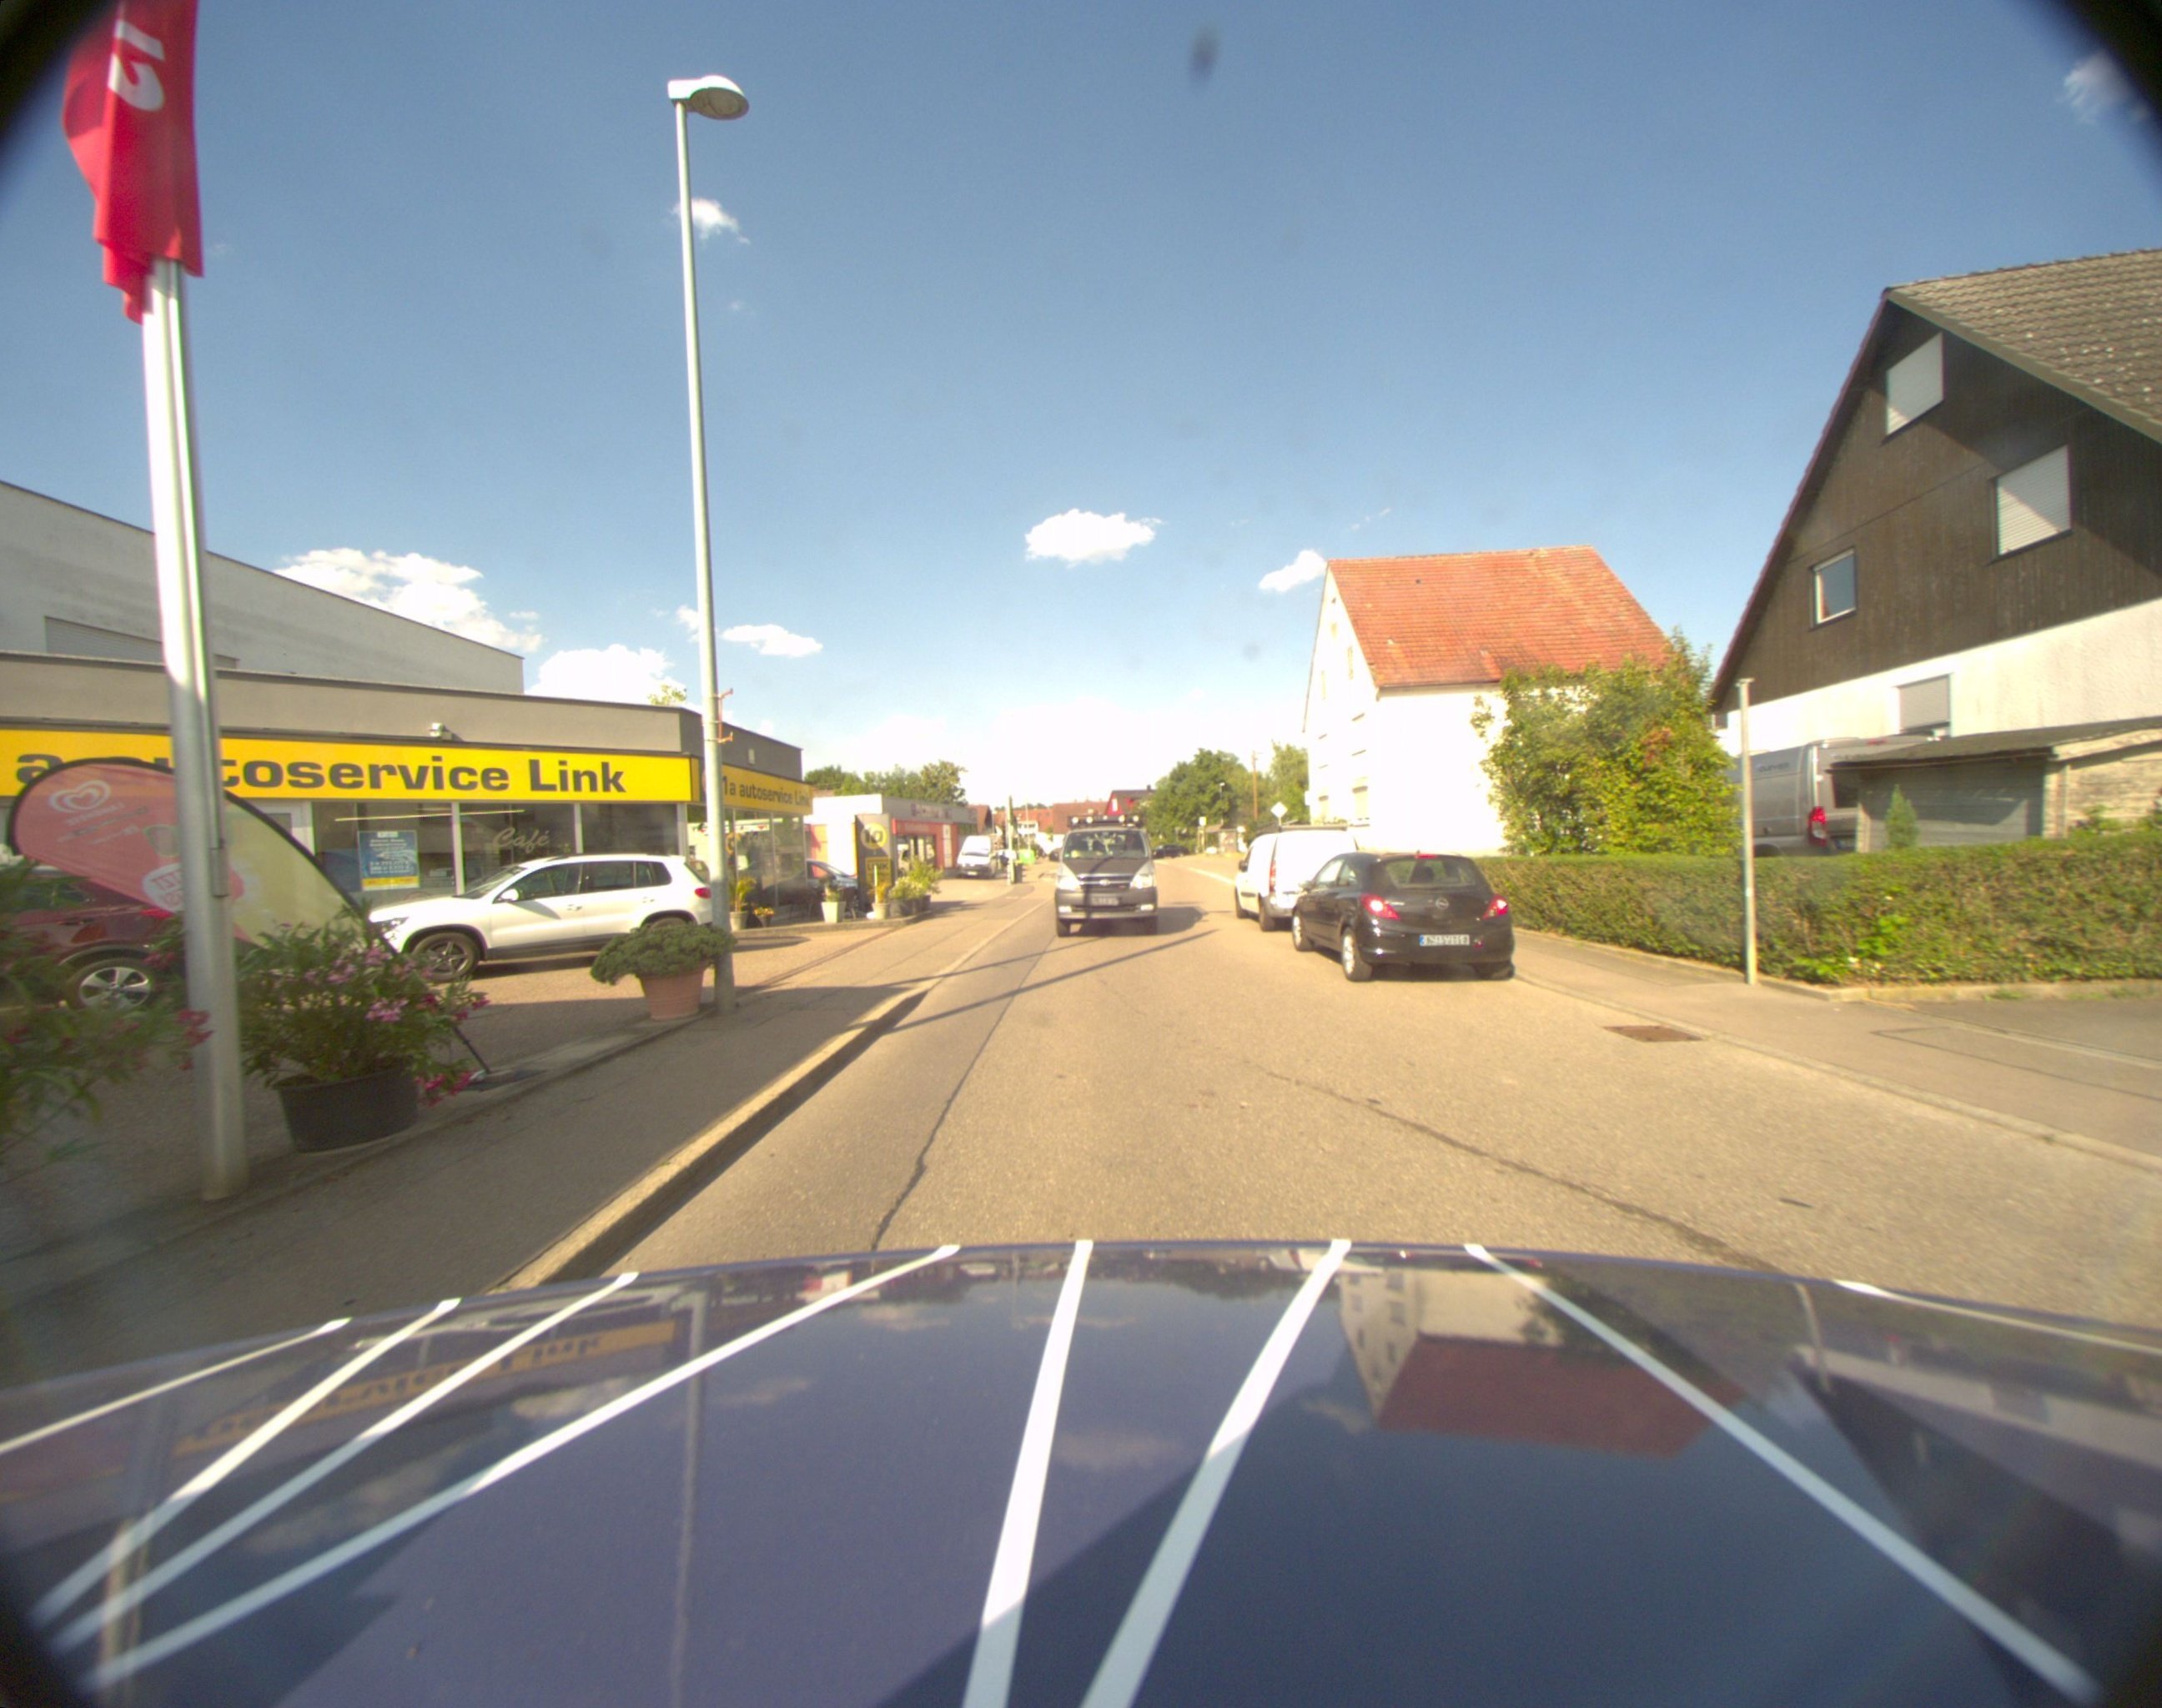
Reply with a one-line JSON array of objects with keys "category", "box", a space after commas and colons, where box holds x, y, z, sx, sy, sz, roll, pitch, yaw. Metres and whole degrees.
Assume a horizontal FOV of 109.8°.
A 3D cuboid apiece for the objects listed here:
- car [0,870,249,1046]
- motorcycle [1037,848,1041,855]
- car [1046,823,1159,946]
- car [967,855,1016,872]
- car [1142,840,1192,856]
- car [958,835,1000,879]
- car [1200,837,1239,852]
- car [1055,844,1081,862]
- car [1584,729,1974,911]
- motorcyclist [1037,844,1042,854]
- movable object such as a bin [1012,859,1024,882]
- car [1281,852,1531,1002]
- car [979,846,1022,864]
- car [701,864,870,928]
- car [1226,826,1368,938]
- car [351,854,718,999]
[{"category": "car", "box": [-11.456, 1.082, 7.806, 3.694, 1.624, 1.672, -3, 2, -41]}, {"category": "motorcycle", "box": [-7.264, -0.431, 132.283, 0.539, 1.007, 2.027, -5, 1, -3]}, {"category": "car", "box": [0.489, 0.472, 14.929, 1.819, 1.989, 4.821, -1, 1, 3]}, {"category": "car", "box": [-7.885, 0.838, 67.175, 4.073, 1.409, 1.626, -1, 2, 4]}, {"category": "car", "box": [8.846, -0.611, 78.284, 4.849, 1.423, 1.768, -3, 2, -20]}, {"category": "car", "box": [-5.901, 0.129, 44.486, 1.841, 2.361, 5.176, -2, 1, -2]}, {"category": "car", "box": [15.446, -1.046, 84.669, 4.282, 1.484, 1.857, -3, 2, -37]}, {"category": "car", "box": [-1.269, -0.133, 72.380, 1.974, 1.647, 3.996, -1, 1, -8]}, {"category": "car", "box": [12.394, -0.525, 14.364, 2.163, 2.581, 6.096, -3, 1, 6]}, {"category": "motorcyclist", "box": [-7.299, -0.858, 132.221, 0.738, 1.518, 1.016, -6, 2, -4]}, {"category": "movable object such as a bin", "box": [-3.013, 0.800, 36.353, 0.568, 1.069, 0.572, -2, 1, -3]}, {"category": "car", "box": [3.805, 0.742, 9.639, 1.676, 1.443, 3.835, -2, 1, 3]}, {"category": "car", "box": [-7.811, 0.073, 73.831, 3.948, 1.594, 1.682, -2, 2, 2]}, {"category": "car", "box": [-8.104, 1.131, 21.038, 3.996, 1.522, 1.527, -2, 1, 2]}, {"category": "car", "box": [4.062, 0.448, 14.969, 1.720, 1.862, 4.192, -1, 1, 2]}, {"category": "car", "box": [-7.764, 0.877, 11.113, 4.086, 1.665, 1.672, -1, 1, -41]}]
